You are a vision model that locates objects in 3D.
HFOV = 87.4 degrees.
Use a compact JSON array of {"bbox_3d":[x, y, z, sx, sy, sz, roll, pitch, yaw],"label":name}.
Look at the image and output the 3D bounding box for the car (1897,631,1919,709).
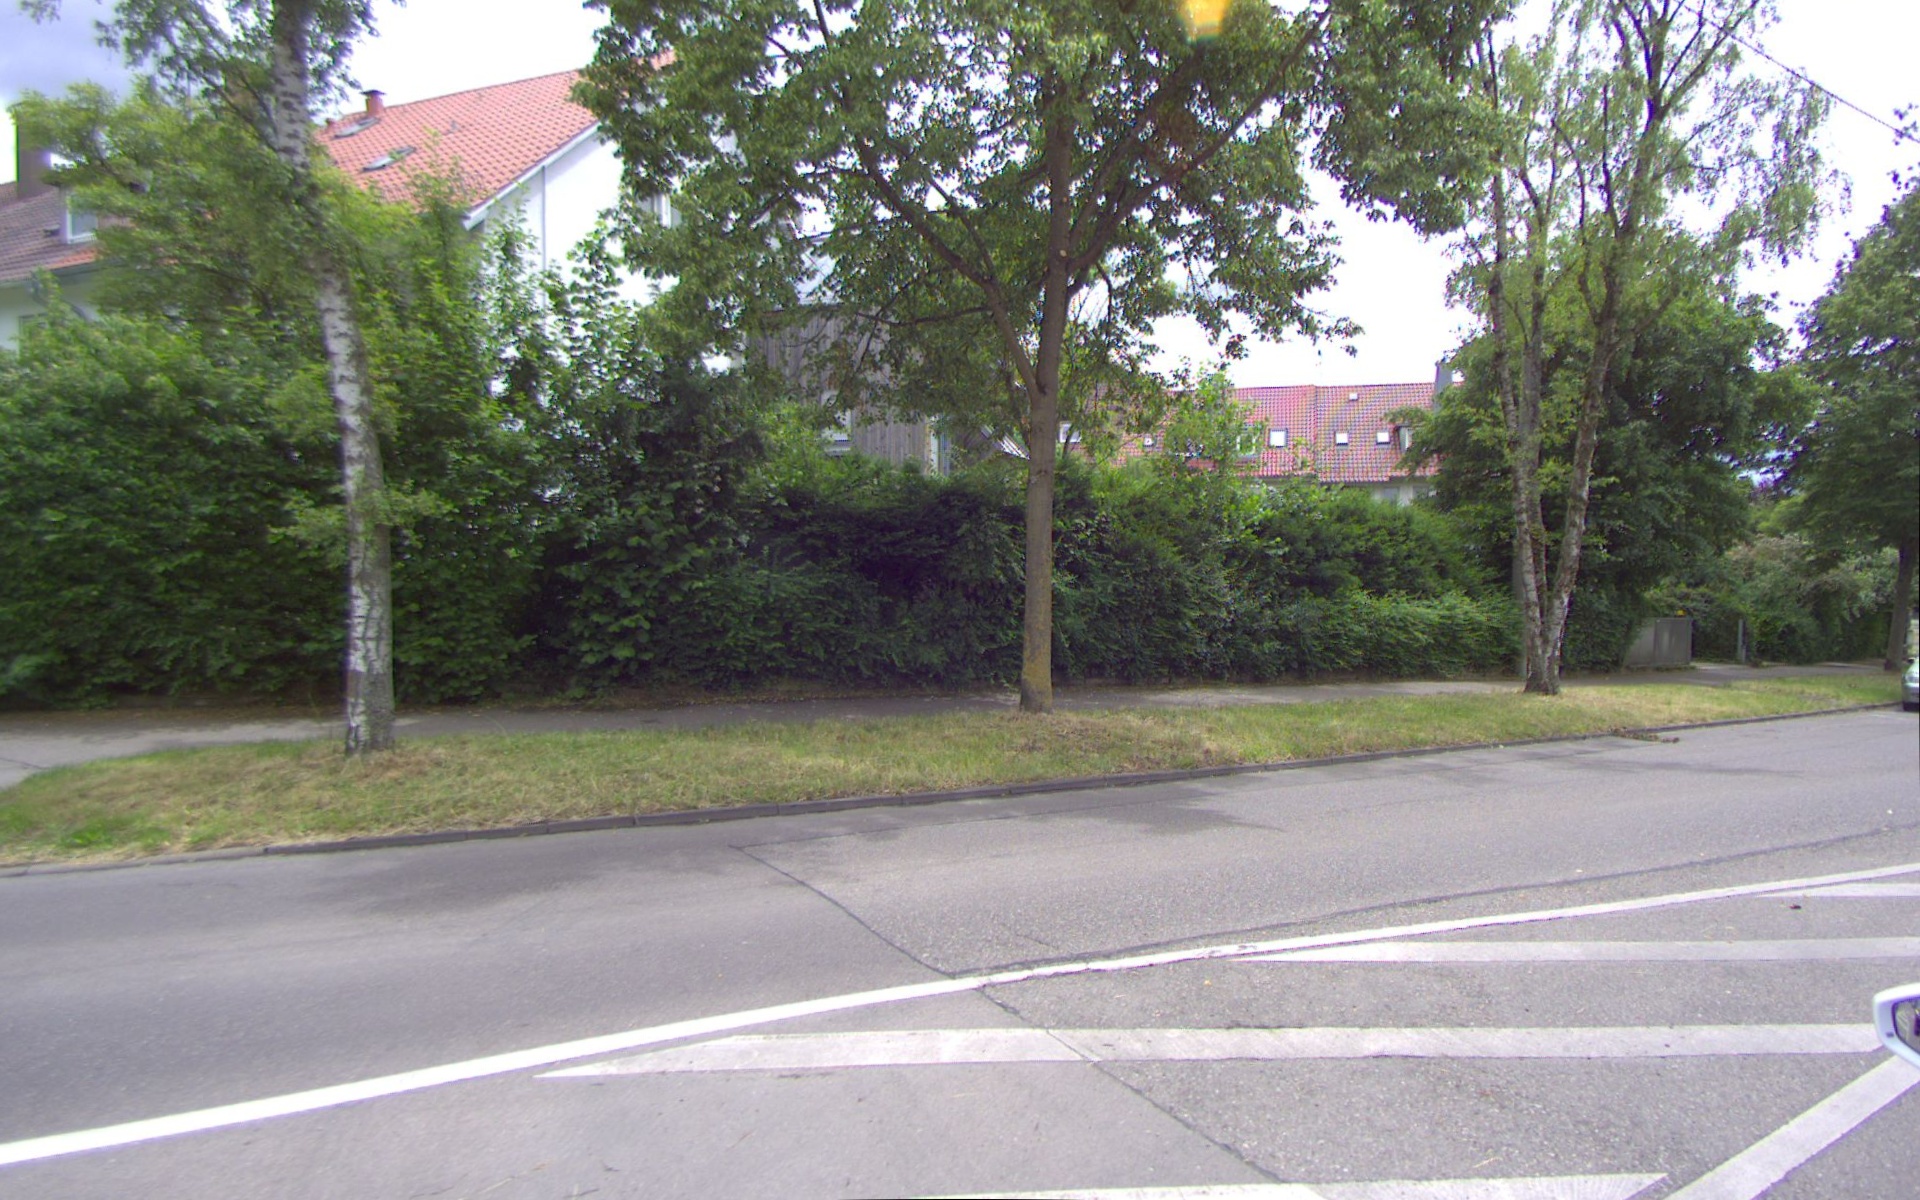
[{"bbox_3d":[19.858,1.355,19.714,4.437,1.435,1.720,1,-1,-41],"label":"car"}]
